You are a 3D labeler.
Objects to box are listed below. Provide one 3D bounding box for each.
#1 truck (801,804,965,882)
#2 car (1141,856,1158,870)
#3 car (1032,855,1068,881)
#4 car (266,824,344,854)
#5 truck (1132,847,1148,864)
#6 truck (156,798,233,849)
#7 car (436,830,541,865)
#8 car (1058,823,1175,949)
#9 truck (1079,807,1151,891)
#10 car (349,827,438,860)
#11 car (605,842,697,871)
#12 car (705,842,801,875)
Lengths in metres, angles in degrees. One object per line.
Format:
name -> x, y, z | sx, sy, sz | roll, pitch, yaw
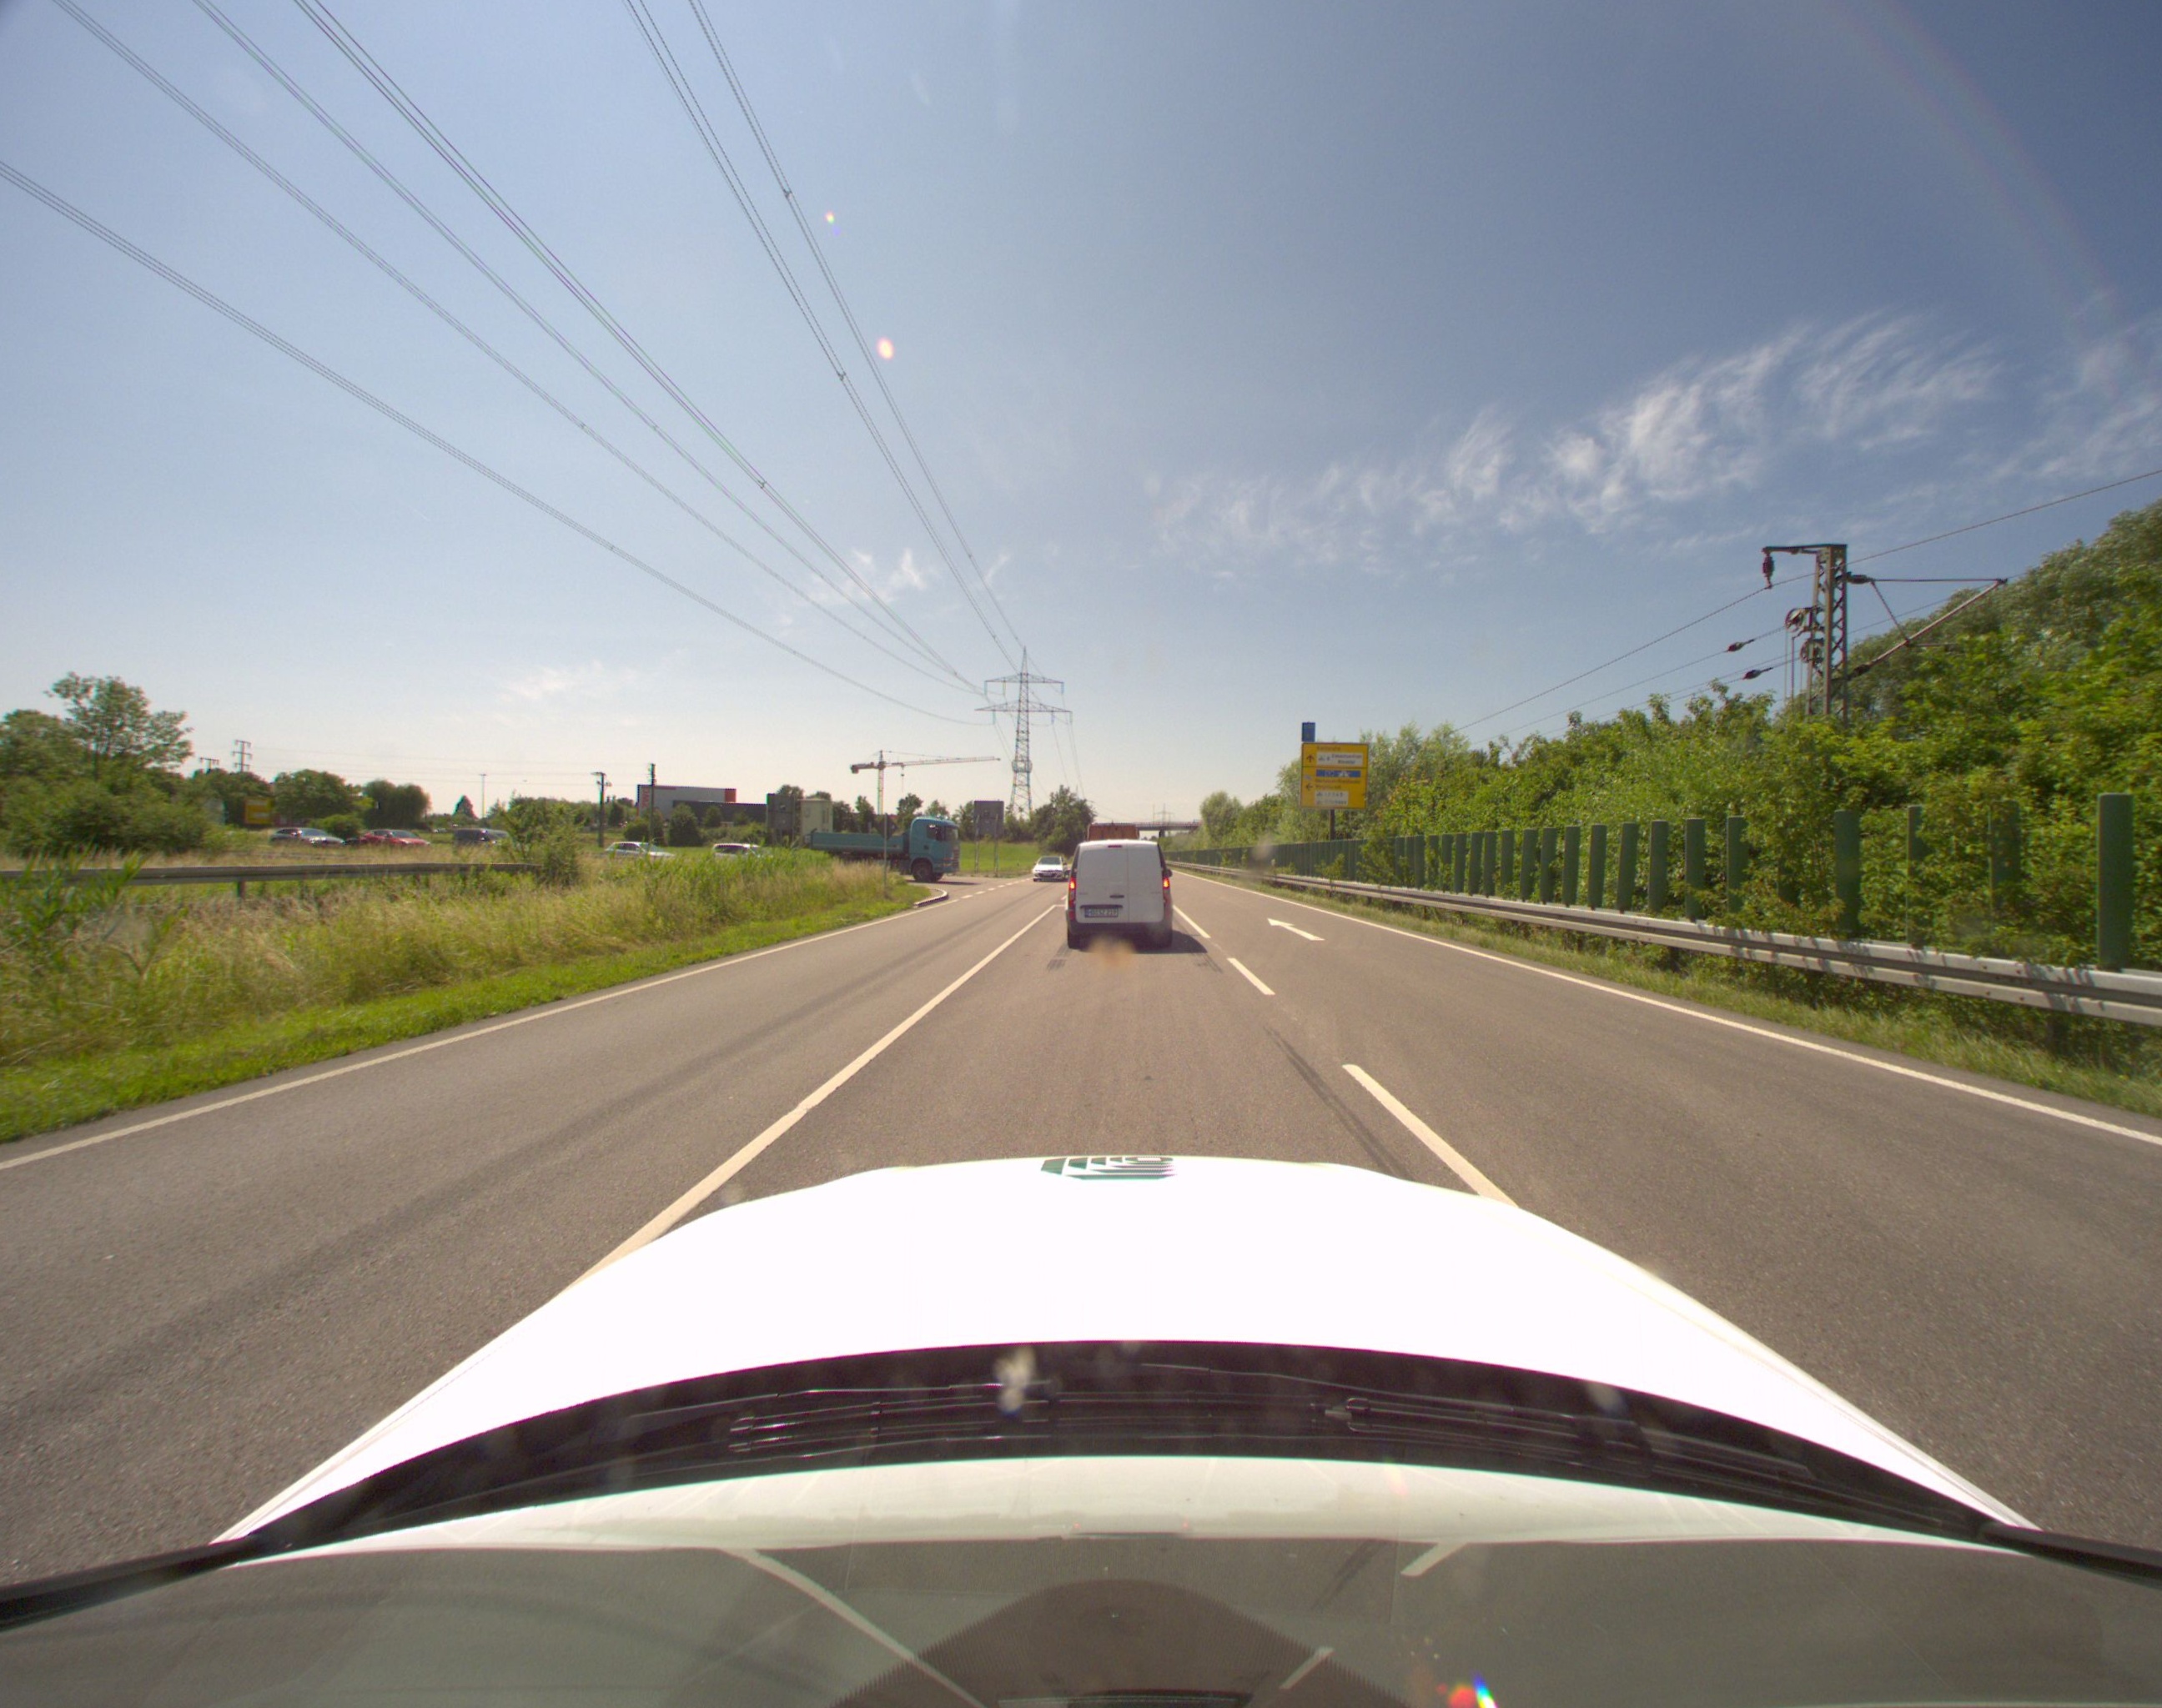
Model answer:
truck -> -10.424, -0.576, 43.269 | 7.867, 3.734, 2.501 | 2, 0, 5
car -> 7.954, 1.079, 94.579 | 1.841, 1.574, 4.003 | -1, 0, 3
car -> -1.785, 0.817, 48.093 | 1.718, 1.441, 4.252 | 0, 0, 3
car -> -49.231, -0.943, 51.689 | 3.959, 1.901, 1.665 | 0, 0, 13
truck -> 9.371, 0.216, 130.078 | 2.365, 2.689, 8.014 | 1, 0, 2
truck -> -87.671, -2.836, 80.789 | 3.709, 4.646, 13.083 | 1, 0, -41
car -> -34.321, -0.414, 47.217 | 4.905, 1.867, 2.095 | 2, 1, 11
car -> 0.651, 0.503, 14.864 | 1.820, 1.971, 4.002 | -1, 0, 2
truck -> 1.440, -0.242, 36.693 | 2.810, 3.288, 9.703 | 0, 1, 1
car -> -41.588, -0.623, 49.300 | 4.434, 1.849, 1.924 | 1, 0, 16
car -> -23.754, 0.121, 45.029 | 4.401, 1.470, 1.724 | 1, 0, 13
car -> -17.679, 0.235, 43.919 | 4.506, 1.612, 1.977 | 1, 0, 17
